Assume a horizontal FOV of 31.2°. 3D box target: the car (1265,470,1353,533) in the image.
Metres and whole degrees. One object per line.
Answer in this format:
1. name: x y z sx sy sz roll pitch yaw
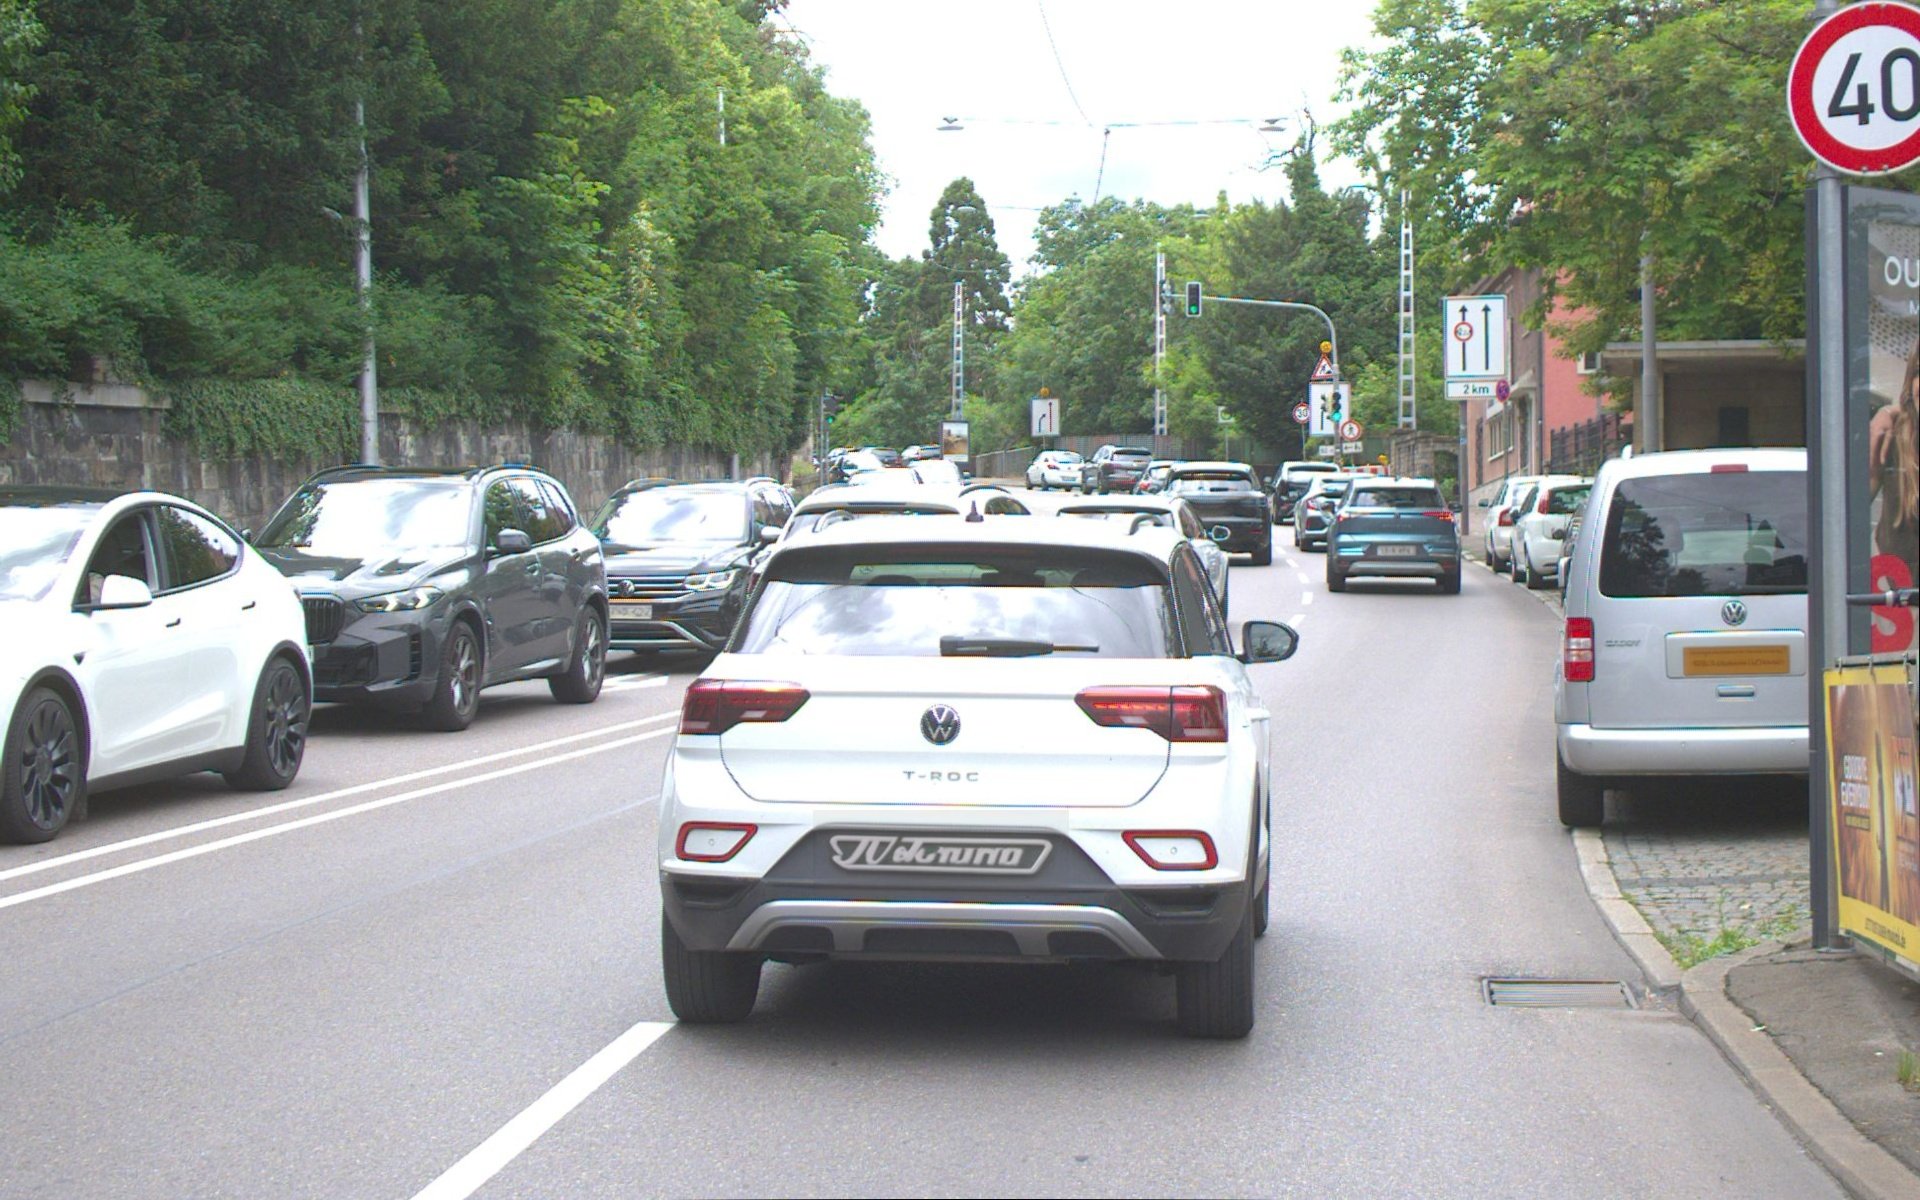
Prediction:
1. car: 8.177 -2.320 80.780 1.994 1.445 4.150 0 2 5

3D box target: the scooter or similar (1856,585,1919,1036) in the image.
1. scooter or similar: 3.109 0.610 10.499 0.516 1.284 1.486 -2 1 8

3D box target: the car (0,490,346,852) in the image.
1. car: -4.732 0.242 17.029 1.838 1.549 4.787 1 2 9

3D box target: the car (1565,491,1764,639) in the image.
1. car: 7.213 -0.406 35.530 1.770 1.394 4.550 -1 2 9

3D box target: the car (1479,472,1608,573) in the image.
1. car: 9.141 -1.245 54.096 1.676 1.456 4.365 -1 2 6

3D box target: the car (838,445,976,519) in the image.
1. car: -1.022 -2.385 69.409 2.003 1.404 4.754 -1 2 9

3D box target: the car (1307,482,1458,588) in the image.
1. car: 5.857 -0.924 47.912 1.994 1.409 4.150 0 2 6

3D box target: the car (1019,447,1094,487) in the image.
1. car: 3.556 -4.920 127.346 1.993 1.445 4.152 0 2 -10

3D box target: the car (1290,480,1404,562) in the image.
1. car: 7.091 -1.472 63.340 1.994 1.445 4.150 0 2 5

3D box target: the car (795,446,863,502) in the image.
1. car: -4.464 -4.268 116.902 1.993 1.748 4.001 1 0 -6

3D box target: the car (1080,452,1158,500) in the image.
1. car: 5.296 -4.127 115.069 1.993 1.569 4.152 0 2 -6

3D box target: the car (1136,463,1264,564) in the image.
1. car: 4.001 -1.464 56.888 1.994 1.551 4.150 2 3 5

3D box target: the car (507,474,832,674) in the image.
1. car: -2.531 -0.287 31.166 1.848 1.646 4.623 -1 2 9

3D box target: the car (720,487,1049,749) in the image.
1. car: -0.435 0.054 23.683 1.758 1.604 3.795 2 2 6

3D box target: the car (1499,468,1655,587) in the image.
1. car: 8.675 -1.057 48.588 1.715 1.466 4.038 -3 3 5

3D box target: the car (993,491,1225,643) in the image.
1. car: 1.619 -0.383 35.846 1.994 1.484 4.149 0 2 8

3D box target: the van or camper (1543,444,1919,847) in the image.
1. van or camper: 3.980 0.151 17.928 1.699 1.838 4.240 0 2 12

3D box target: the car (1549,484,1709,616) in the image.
1. car: 7.934 -0.625 40.973 1.562 1.417 3.424 -3 2 7

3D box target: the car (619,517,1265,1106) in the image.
1. car: 0.085 0.539 11.445 1.758 1.550 3.795 2 2 4

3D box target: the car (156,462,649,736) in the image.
1. car: -3.809 -0.077 24.481 1.960 1.743 4.876 -1 2 10

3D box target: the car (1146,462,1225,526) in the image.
1. car: 5.290 -2.501 80.761 1.781 1.449 4.000 1 2 4

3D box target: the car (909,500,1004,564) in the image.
1. car: -0.061 -1.651 82.400 1.843 1.431 4.000 0 2 6
